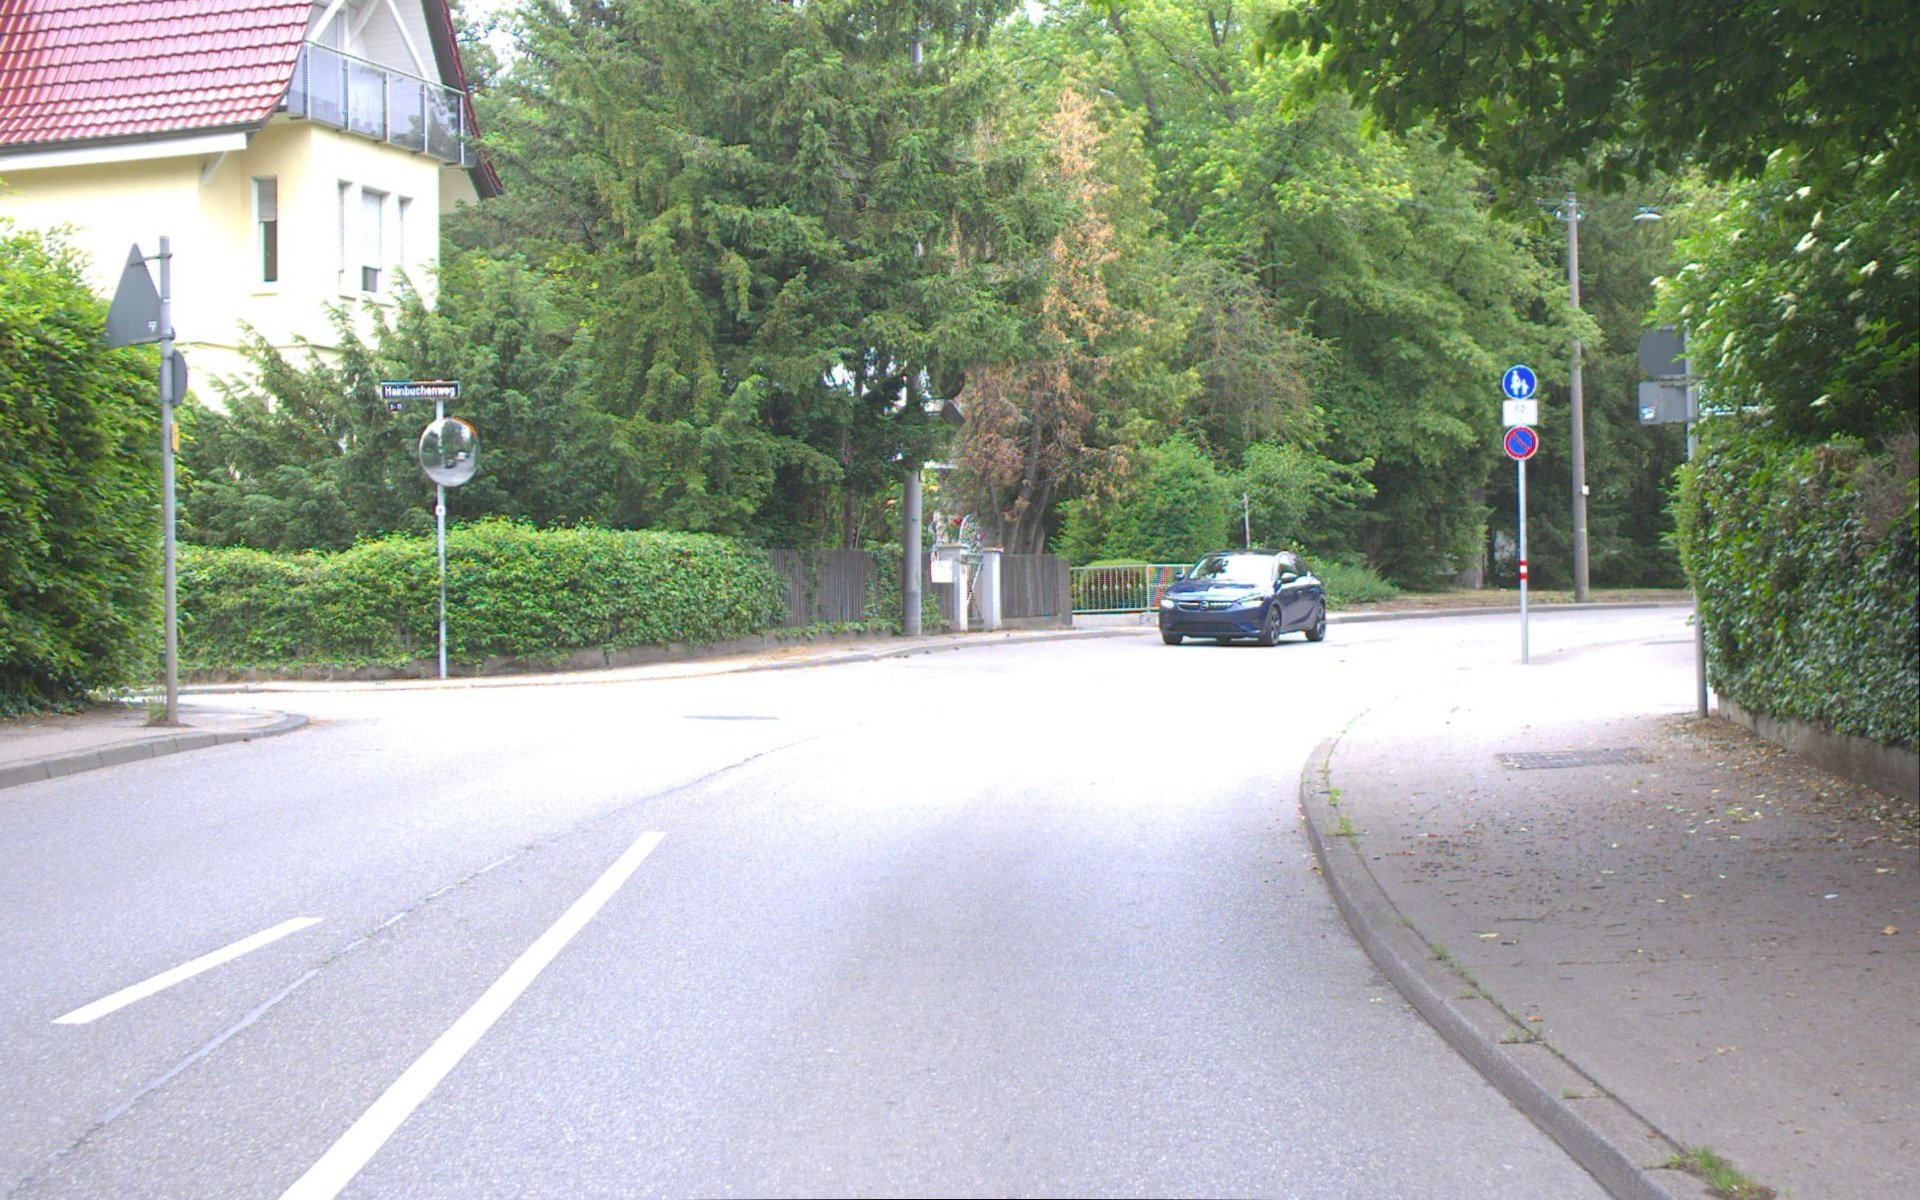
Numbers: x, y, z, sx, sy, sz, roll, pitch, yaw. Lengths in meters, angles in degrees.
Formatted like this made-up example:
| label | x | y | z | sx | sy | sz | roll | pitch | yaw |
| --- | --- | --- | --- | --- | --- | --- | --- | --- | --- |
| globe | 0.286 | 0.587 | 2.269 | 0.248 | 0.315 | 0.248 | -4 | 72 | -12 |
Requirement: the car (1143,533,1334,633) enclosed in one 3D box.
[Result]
| label | x | y | z | sx | sy | sz | roll | pitch | yaw |
| --- | --- | --- | --- | --- | --- | --- | --- | --- | --- |
| car | 4.283 | -0.278 | 52.259 | 1.759 | 1.434 | 4.089 | 1 | 1 | 22 |
